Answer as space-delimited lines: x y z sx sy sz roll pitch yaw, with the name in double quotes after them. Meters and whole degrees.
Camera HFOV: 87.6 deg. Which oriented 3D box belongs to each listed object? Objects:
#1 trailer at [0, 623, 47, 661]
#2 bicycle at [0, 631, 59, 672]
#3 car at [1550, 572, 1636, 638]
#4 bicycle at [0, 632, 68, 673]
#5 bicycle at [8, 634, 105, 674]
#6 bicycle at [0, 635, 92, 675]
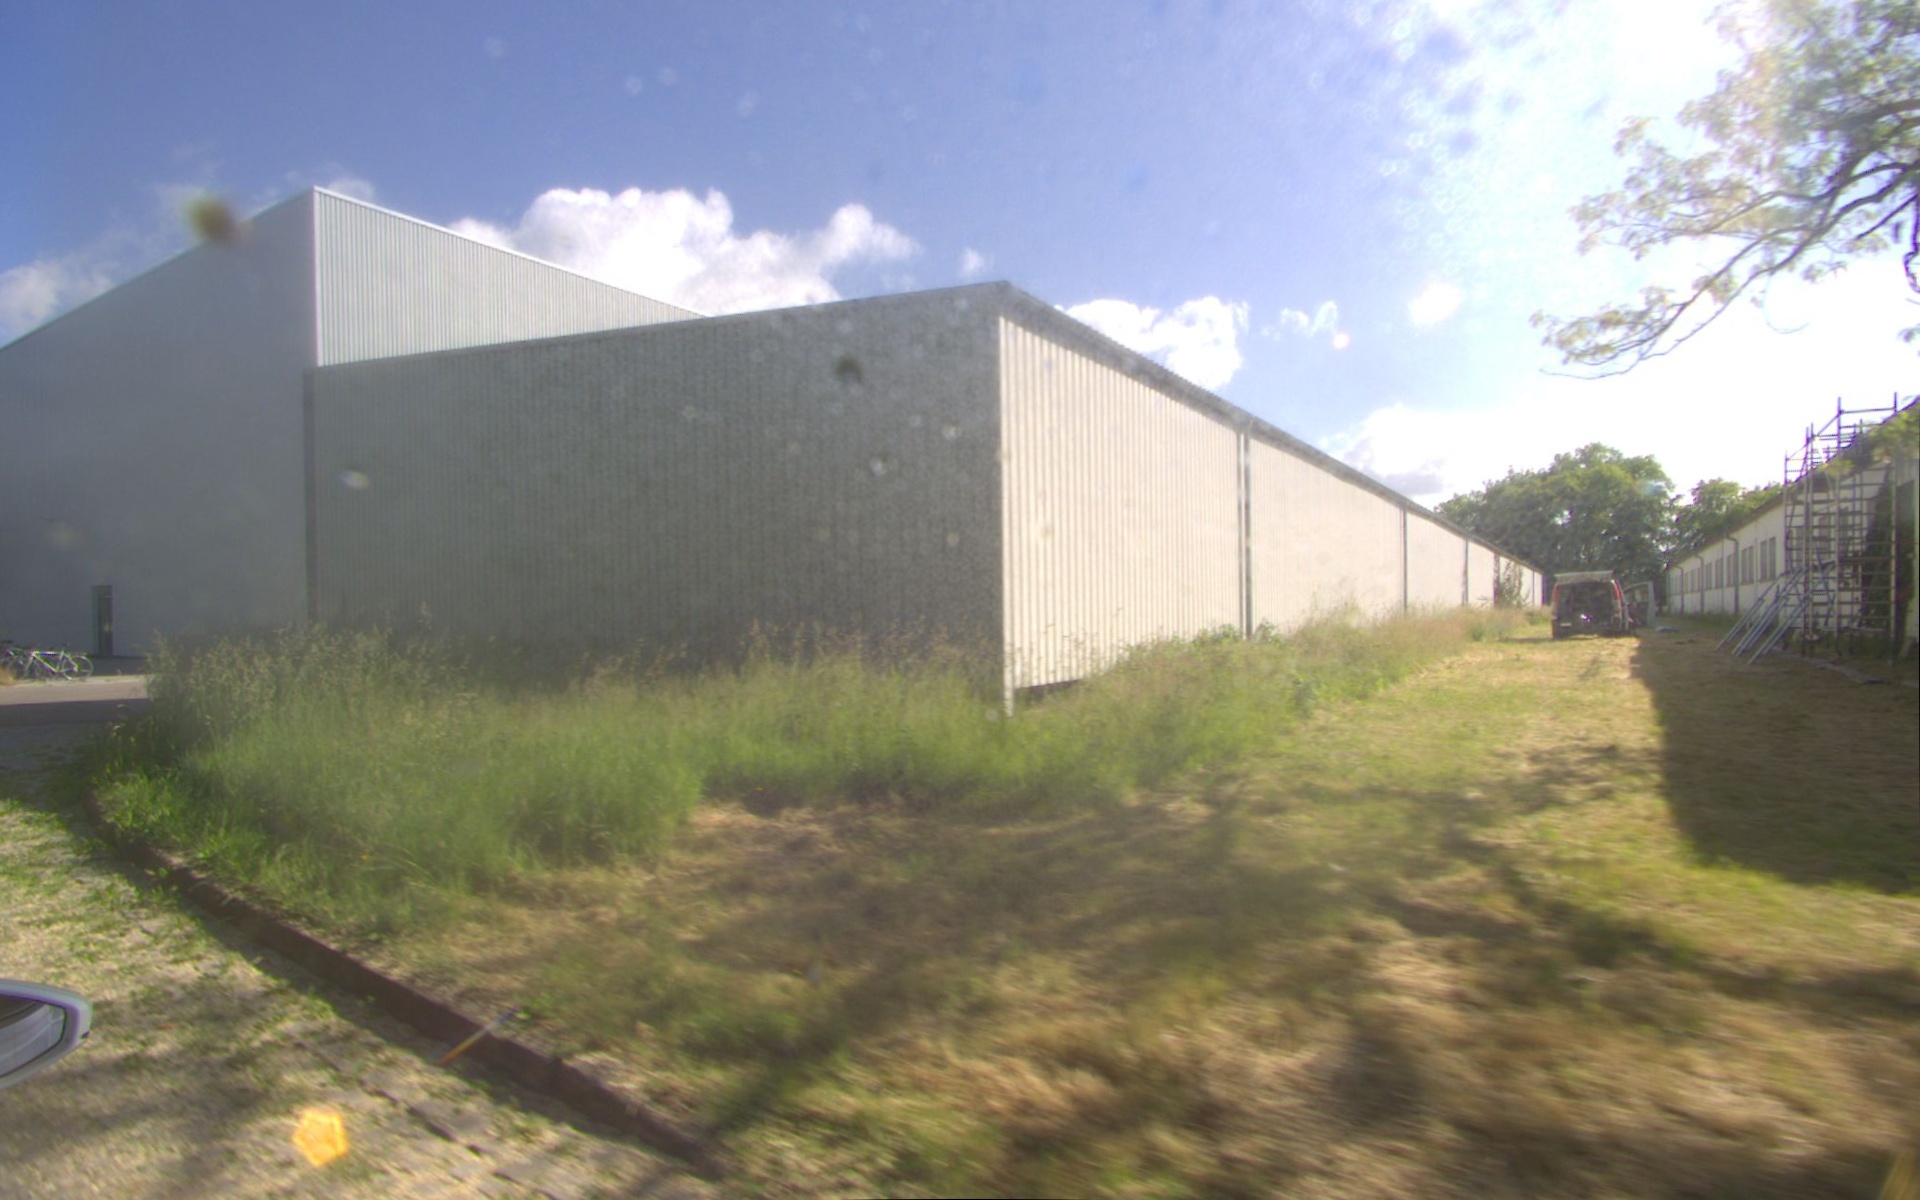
-32.388 1.418 33.338 1.228 1.215 2.705 -1 0 32 "trailer"
-27.958 1.523 29.634 0.427 1.141 1.879 -1 0 32 "bicycle"
19.805 0.161 31.283 2.051 1.853 4.248 -3 -2 34 "car"
-26.083 1.455 27.816 0.427 1.096 1.879 -1 0 32 "bicycle"
-23.975 1.418 26.608 0.427 0.991 1.879 -1 0 32 "bicycle"
-24.944 1.492 27.314 0.427 0.991 1.879 -1 0 32 "bicycle"
